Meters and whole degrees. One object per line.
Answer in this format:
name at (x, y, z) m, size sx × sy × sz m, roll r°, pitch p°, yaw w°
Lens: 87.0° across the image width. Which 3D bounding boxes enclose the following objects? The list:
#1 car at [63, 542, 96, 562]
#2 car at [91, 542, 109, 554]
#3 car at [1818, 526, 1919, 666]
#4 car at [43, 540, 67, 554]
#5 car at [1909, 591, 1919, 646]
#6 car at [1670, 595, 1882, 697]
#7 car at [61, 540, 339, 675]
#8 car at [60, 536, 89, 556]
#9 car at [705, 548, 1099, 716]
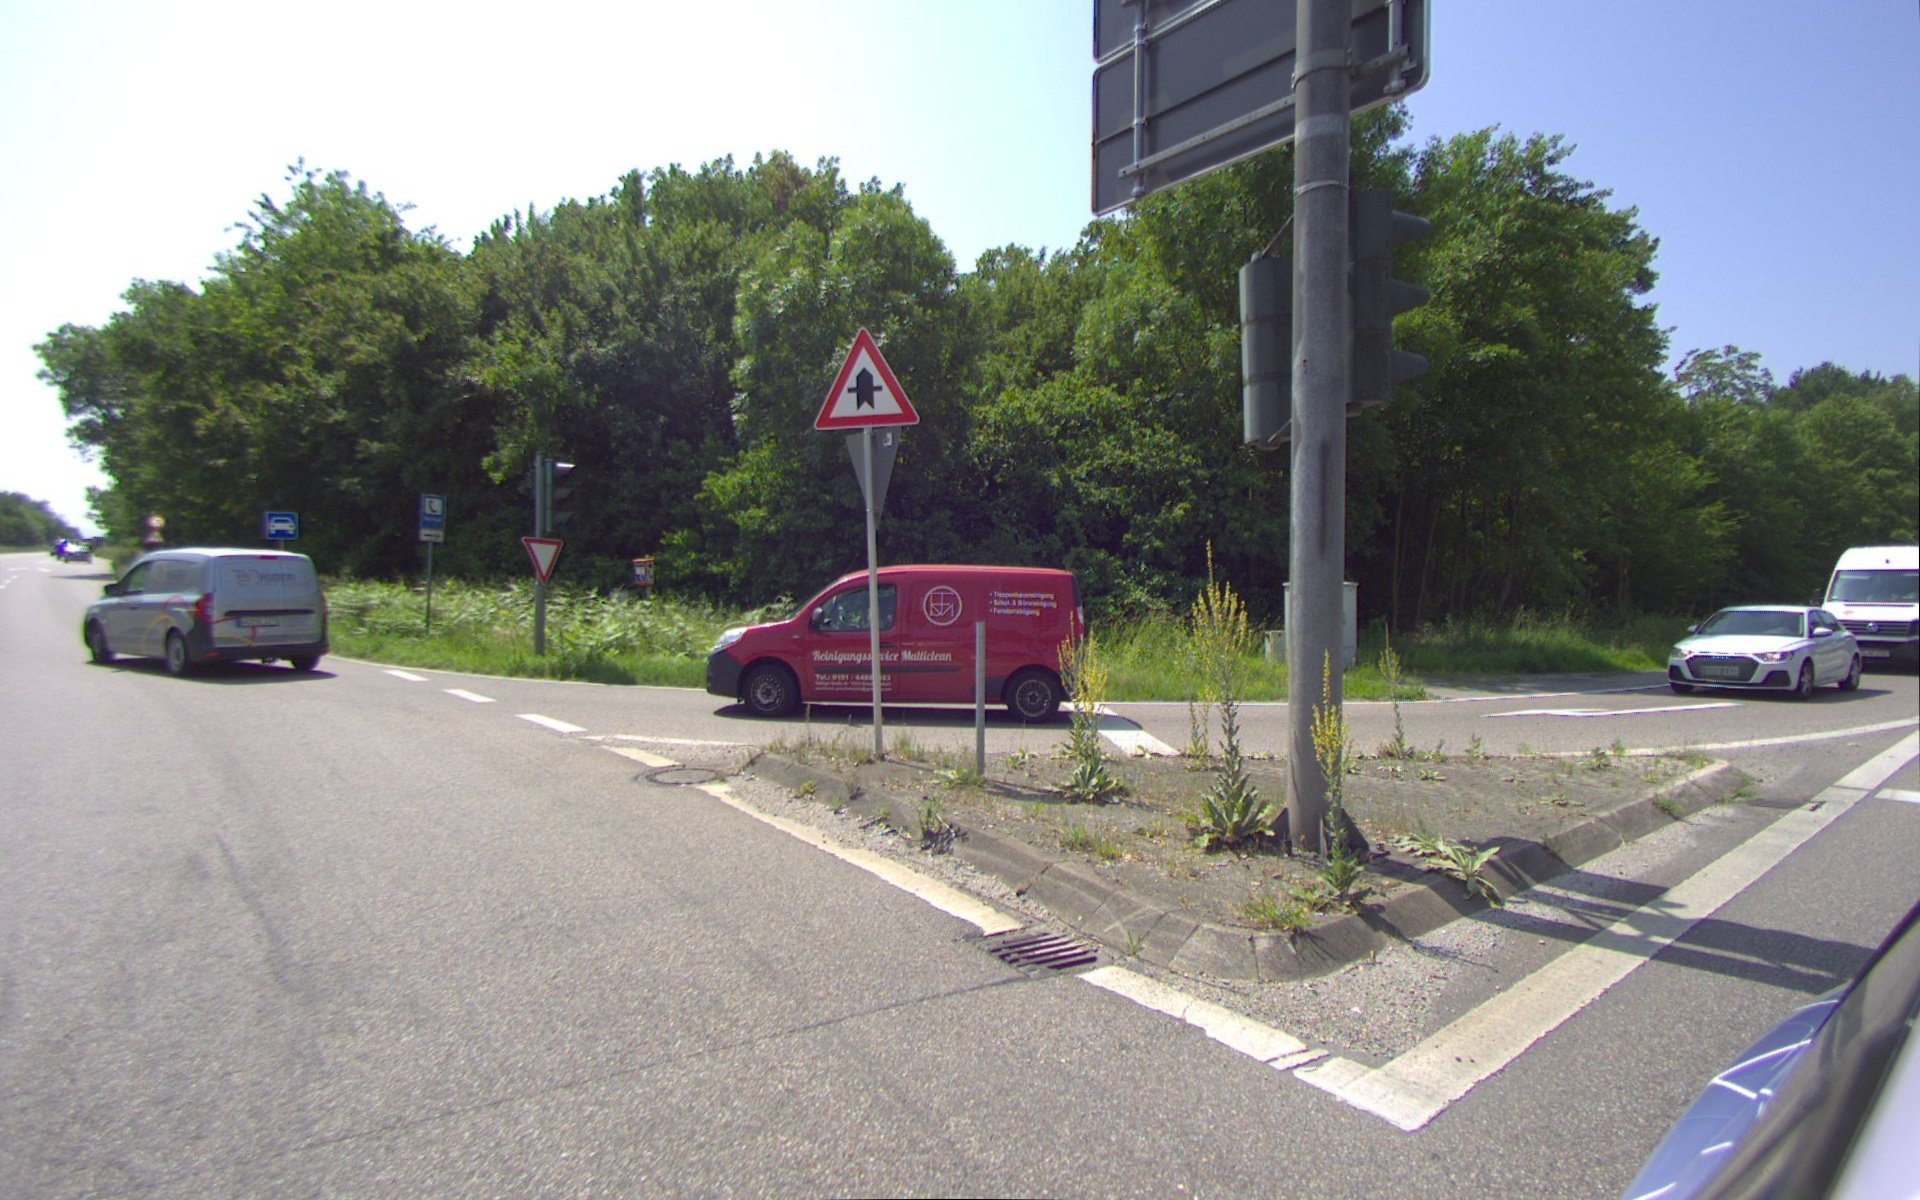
car at (-69.328, -3.786, 79.711) m, size 1.814 × 1.517 × 4.458 m, roll 0°, pitch 2°, yaw -39°
car at (-121.578, -7.345, 143.160) m, size 1.814 × 1.517 × 4.458 m, roll 0°, pitch 2°, yaw -39°
car at (20.358, -0.091, 21.693) m, size 5.952 × 2.679 × 1.973 m, roll 0°, pitch 0°, yaw -40°
car at (-101.745, -5.914, 113.832) m, size 1.814 × 1.517 × 4.458 m, roll 0°, pitch 2°, yaw -39°
car at (27.579, 0.469, 27.824) m, size 4.156 × 1.479 × 1.794 m, roll -1°, pitch 0°, yaw -42°
car at (13.256, 0.671, 16.380) m, size 3.925 × 1.454 × 1.694 m, roll 0°, pitch -1°, yaw -36°
car at (-11.417, 0.088, 15.182) m, size 4.072 × 1.796 × 1.745 m, roll 0°, pitch 0°, yaw 27°
car at (-81.043, -4.915, 92.613) m, size 1.814 × 1.773 × 4.458 m, roll 0°, pitch 2°, yaw -39°
car at (-0.663, 0.361, 12.267) m, size 4.411 × 1.846 × 1.797 m, roll 0°, pitch -1°, yaw 0°
